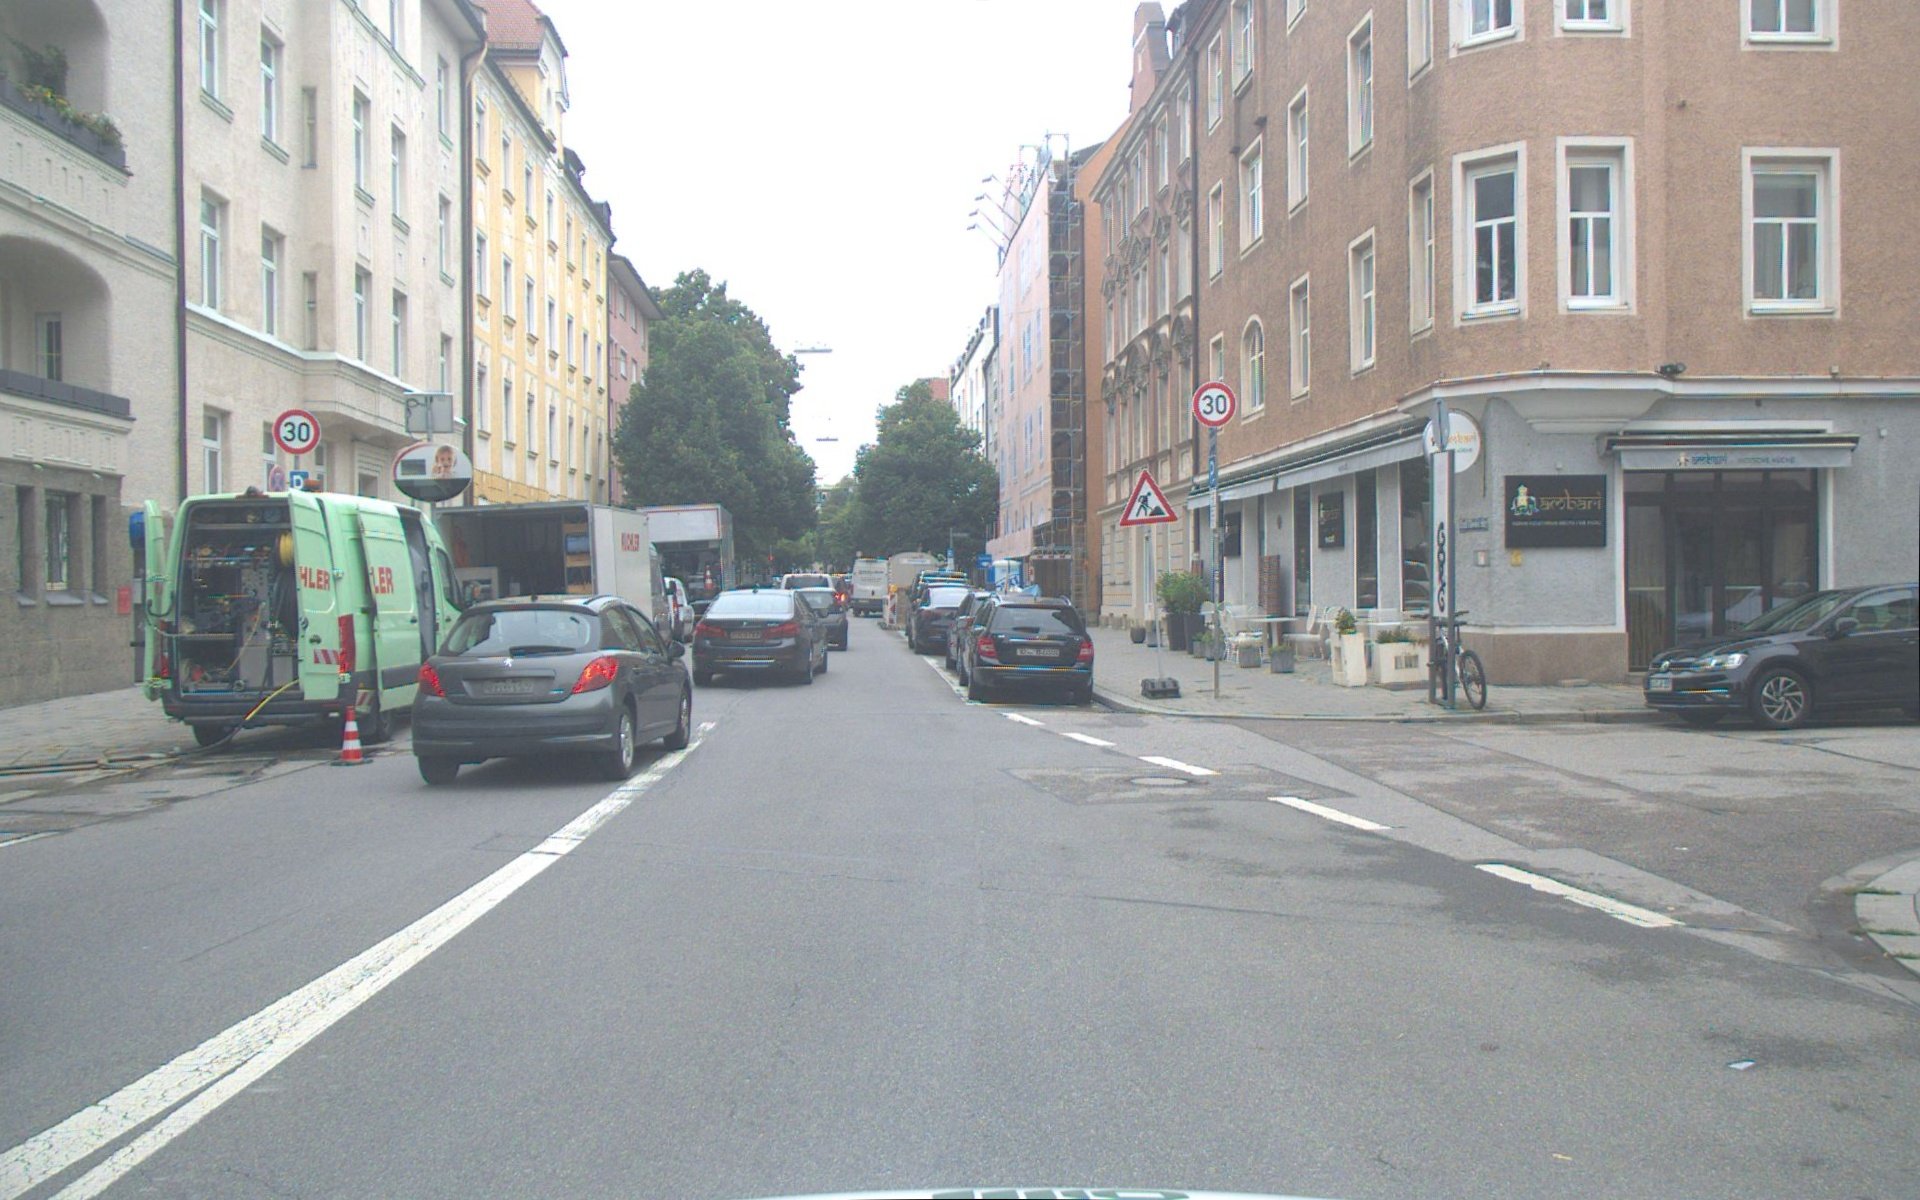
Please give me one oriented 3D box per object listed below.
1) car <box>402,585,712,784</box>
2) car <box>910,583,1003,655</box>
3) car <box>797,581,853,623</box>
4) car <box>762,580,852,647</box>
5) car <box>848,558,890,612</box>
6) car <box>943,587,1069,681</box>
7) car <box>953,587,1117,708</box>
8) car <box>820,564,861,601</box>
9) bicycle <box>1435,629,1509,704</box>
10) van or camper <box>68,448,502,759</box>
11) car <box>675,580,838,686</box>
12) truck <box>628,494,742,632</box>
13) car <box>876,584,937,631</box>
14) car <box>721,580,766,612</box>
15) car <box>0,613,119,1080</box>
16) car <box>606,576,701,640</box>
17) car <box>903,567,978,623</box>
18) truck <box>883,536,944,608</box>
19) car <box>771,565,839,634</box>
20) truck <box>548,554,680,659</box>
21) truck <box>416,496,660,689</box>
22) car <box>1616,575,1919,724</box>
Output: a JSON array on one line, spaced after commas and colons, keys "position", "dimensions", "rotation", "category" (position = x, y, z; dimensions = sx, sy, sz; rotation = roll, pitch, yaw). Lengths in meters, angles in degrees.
[{"position": [-3.378, 0.631, 14.654], "dimensions": [1.723, 1.486, 4.074], "rotation": [-1, 0, 0], "category": "car"}, {"position": [-0.139, 0.393, 38.613], "dimensions": [1.808, 1.454, 4.303], "rotation": [2, 1, -5], "category": "car"}, {"position": [-5.059, 0.039, 62.633], "dimensions": [1.950, 1.454, 4.138], "rotation": [-1, 1, -3], "category": "car"}, {"position": [-3.640, 0.290, 39.865], "dimensions": [1.950, 1.454, 4.138], "rotation": [-1, 1, -3], "category": "car"}, {"position": [-4.319, -0.724, 79.214], "dimensions": [1.900, 2.523, 4.781], "rotation": [0, 0, -2], "category": "car"}, {"position": [0.752, 0.555, 29.830], "dimensions": [1.808, 1.454, 4.137], "rotation": [2, 1, -5], "category": "car"}, {"position": [0.981, 0.610, 23.816], "dimensions": [1.808, 1.454, 4.180], "rotation": [2, 1, -5], "category": "car"}, {"position": [-6.429, -0.952, 89.178], "dimensions": [1.953, 1.937, 3.999], "rotation": [0, 0, -1], "category": "car"}, {"position": [6.013, 0.766, 19.471], "dimensions": [0.447, 0.819, 1.326], "rotation": [0, 0, -1], "category": "bicycle"}, {"position": [-7.185, -0.042, 18.629], "dimensions": [2.548, 2.889, 6.183], "rotation": [-1, 1, -3], "category": "van or camper"}, {"position": [-3.151, 0.452, 26.622], "dimensions": [1.949, 1.454, 4.906], "rotation": [1, 1, 0], "category": "car"}, {"position": [-8.554, -1.117, 52.133], "dimensions": [2.953, 4.021, 6.989], "rotation": [0, 0, -5], "category": "truck"}, {"position": [-1.833, 0.234, 55.999], "dimensions": [1.950, 1.454, 4.138], "rotation": [-1, 1, -3], "category": "car"}, {"position": [-10.292, -0.194, 78.805], "dimensions": [1.901, 1.473, 3.863], "rotation": [0, 0, -4], "category": "car"}, {"position": [-4.169, 0.791, 3.612], "dimensions": [1.945, 1.479, 4.737], "rotation": [-1, 0, 5], "category": "car"}, {"position": [-8.183, 0.184, 44.492], "dimensions": [1.950, 1.639, 4.138], "rotation": [0, 0, -3], "category": "car"}, {"position": [-0.601, -0.166, 46.374], "dimensions": [1.950, 1.454, 4.138], "rotation": [-1, 1, -3], "category": "car"}, {"position": [-2.074, -1.189, 72.324], "dimensions": [2.442, 3.025, 5.323], "rotation": [0, 0, -4], "category": "truck"}, {"position": [-4.917, -0.059, 52.923], "dimensions": [1.950, 2.111, 4.138], "rotation": [-1, 1, -3], "category": "car"}, {"position": [-7.651, 0.115, 37.041], "dimensions": [2.241, 2.209, 4.803], "rotation": [0, 0, -4], "category": "truck"}, {"position": [-7.108, -0.199, 28.909], "dimensions": [2.718, 2.923, 7.198], "rotation": [-1, 1, -3], "category": "truck"}, {"position": [9.365, 0.503, 17.485], "dimensions": [4.086, 1.454, 1.924], "rotation": [-1, -2, -3], "category": "car"}]
